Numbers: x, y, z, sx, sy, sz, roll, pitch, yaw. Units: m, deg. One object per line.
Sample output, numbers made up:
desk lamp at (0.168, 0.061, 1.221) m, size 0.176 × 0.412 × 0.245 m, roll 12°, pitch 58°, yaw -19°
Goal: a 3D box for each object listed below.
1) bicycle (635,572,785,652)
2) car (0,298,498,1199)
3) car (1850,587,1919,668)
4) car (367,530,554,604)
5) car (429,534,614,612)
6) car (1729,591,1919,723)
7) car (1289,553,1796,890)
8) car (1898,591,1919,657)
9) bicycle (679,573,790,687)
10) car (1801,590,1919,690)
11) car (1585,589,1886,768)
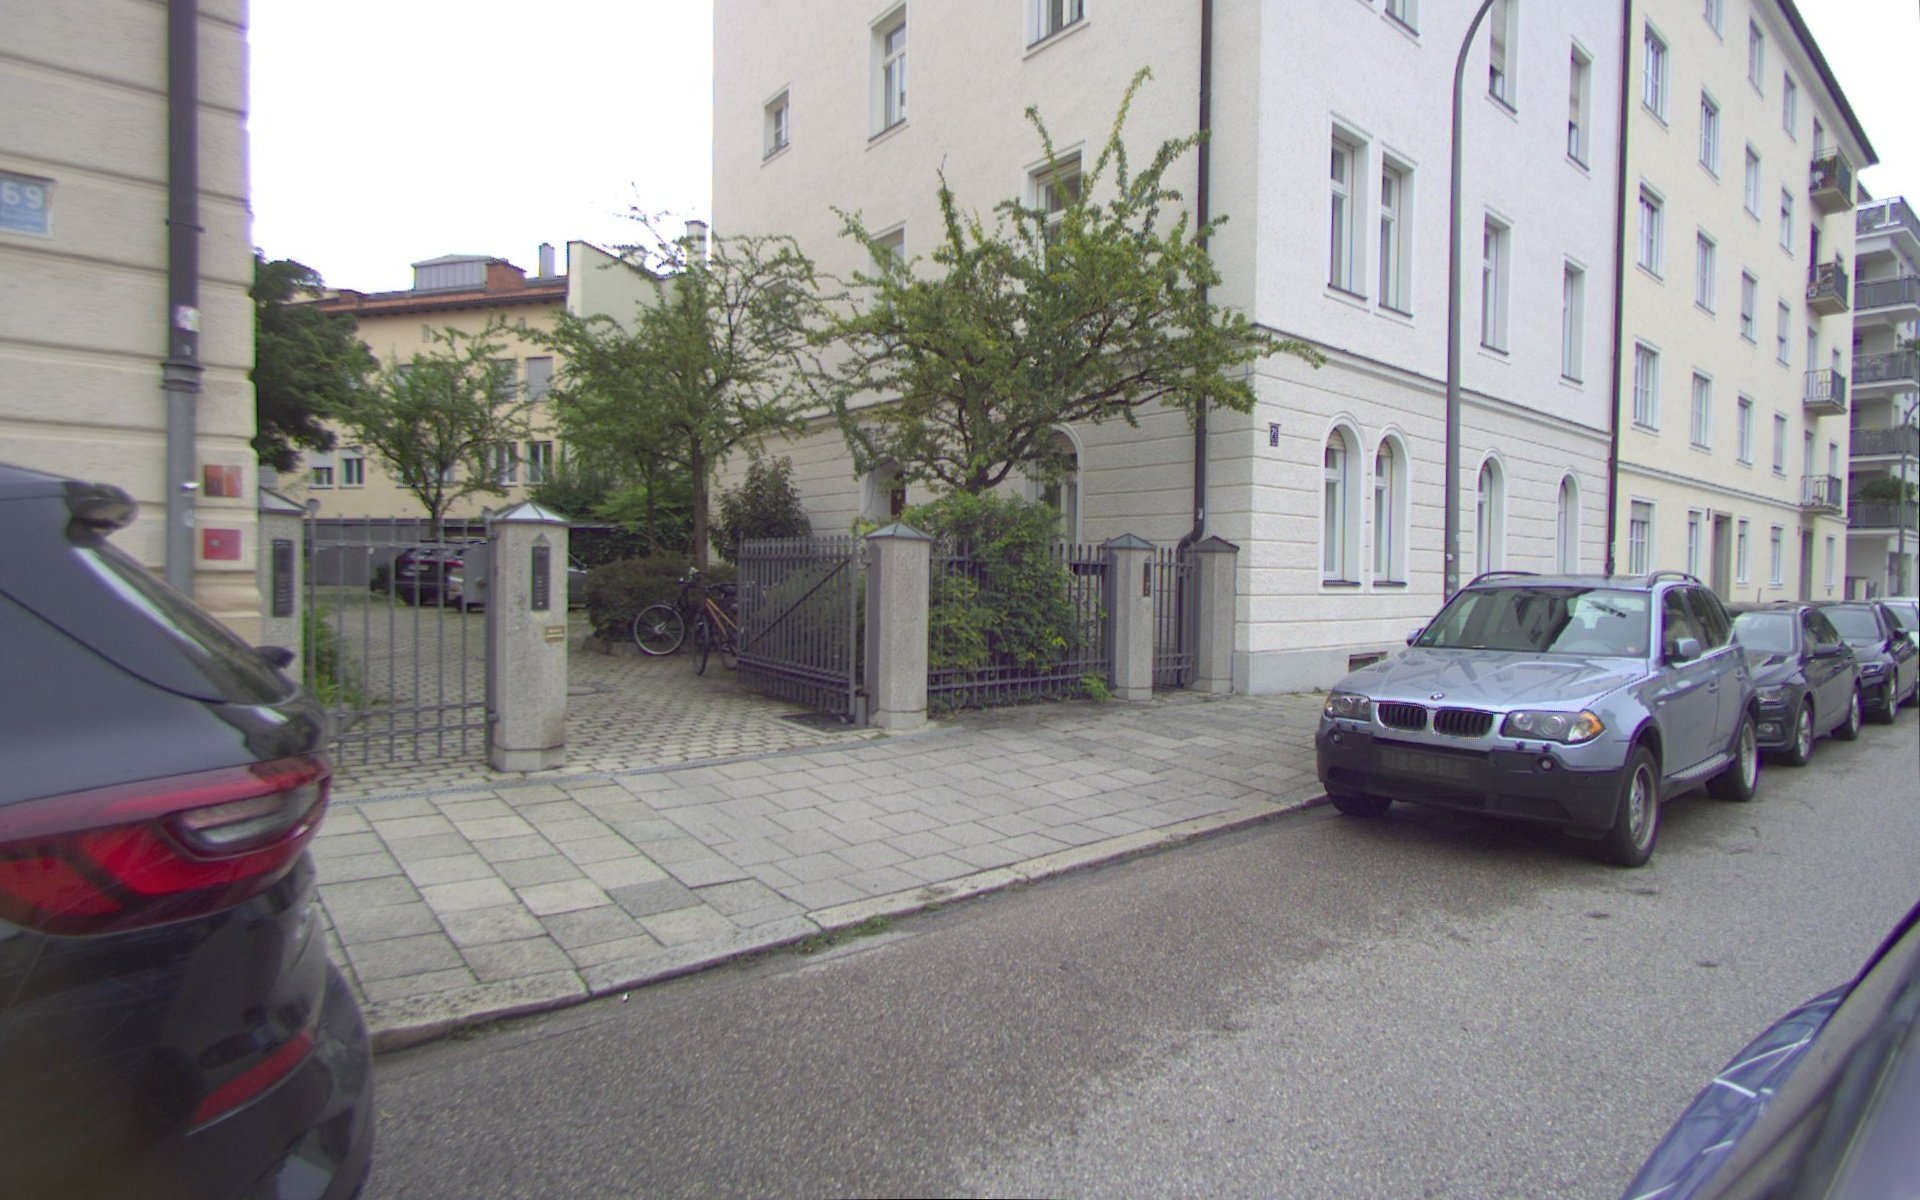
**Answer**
bicycle at (-3.435, 0.143, 14.001) m, size 1.916 × 1.027 × 0.581 m, roll -2°, pitch 1°, yaw -35°
car at (-3.083, 0.547, 0.633) m, size 4.779 × 1.738 × 1.872 m, roll -1°, pitch 1°, yaw -40°
car at (19.425, 0.507, 20.463) m, size 4.096 × 1.500 × 1.682 m, roll -1°, pitch 2°, yaw -42°
car at (-11.886, -0.818, 24.411) m, size 1.904 × 1.567 × 4.231 m, roll 2°, pitch 3°, yaw 11°
car at (-9.655, -0.634, 22.678) m, size 1.754 × 1.533 × 4.231 m, roll 2°, pitch 3°, yaw 11°
car at (11.878, 0.632, 13.592) m, size 4.316 × 1.445 × 1.682 m, roll -1°, pitch 2°, yaw -42°
car at (4.255, 0.551, 7.060) m, size 4.380 × 1.654 × 1.725 m, roll -1°, pitch 2°, yaw -41°
car at (23.082, 0.540, 23.326) m, size 4.366 × 1.427 × 1.682 m, roll -1°, pitch 2°, yaw -41°
bicycle at (-2.583, 0.290, 11.422) m, size 0.570 × 1.107 × 1.880 m, roll 0°, pitch 4°, yaw -34°
car at (15.470, 0.588, 16.856) m, size 4.096 × 1.445 × 1.682 m, roll -1°, pitch 2°, yaw -42°
car at (8.046, 0.632, 10.370) m, size 4.016 × 1.445 × 1.682 m, roll -1°, pitch 2°, yaw -41°
